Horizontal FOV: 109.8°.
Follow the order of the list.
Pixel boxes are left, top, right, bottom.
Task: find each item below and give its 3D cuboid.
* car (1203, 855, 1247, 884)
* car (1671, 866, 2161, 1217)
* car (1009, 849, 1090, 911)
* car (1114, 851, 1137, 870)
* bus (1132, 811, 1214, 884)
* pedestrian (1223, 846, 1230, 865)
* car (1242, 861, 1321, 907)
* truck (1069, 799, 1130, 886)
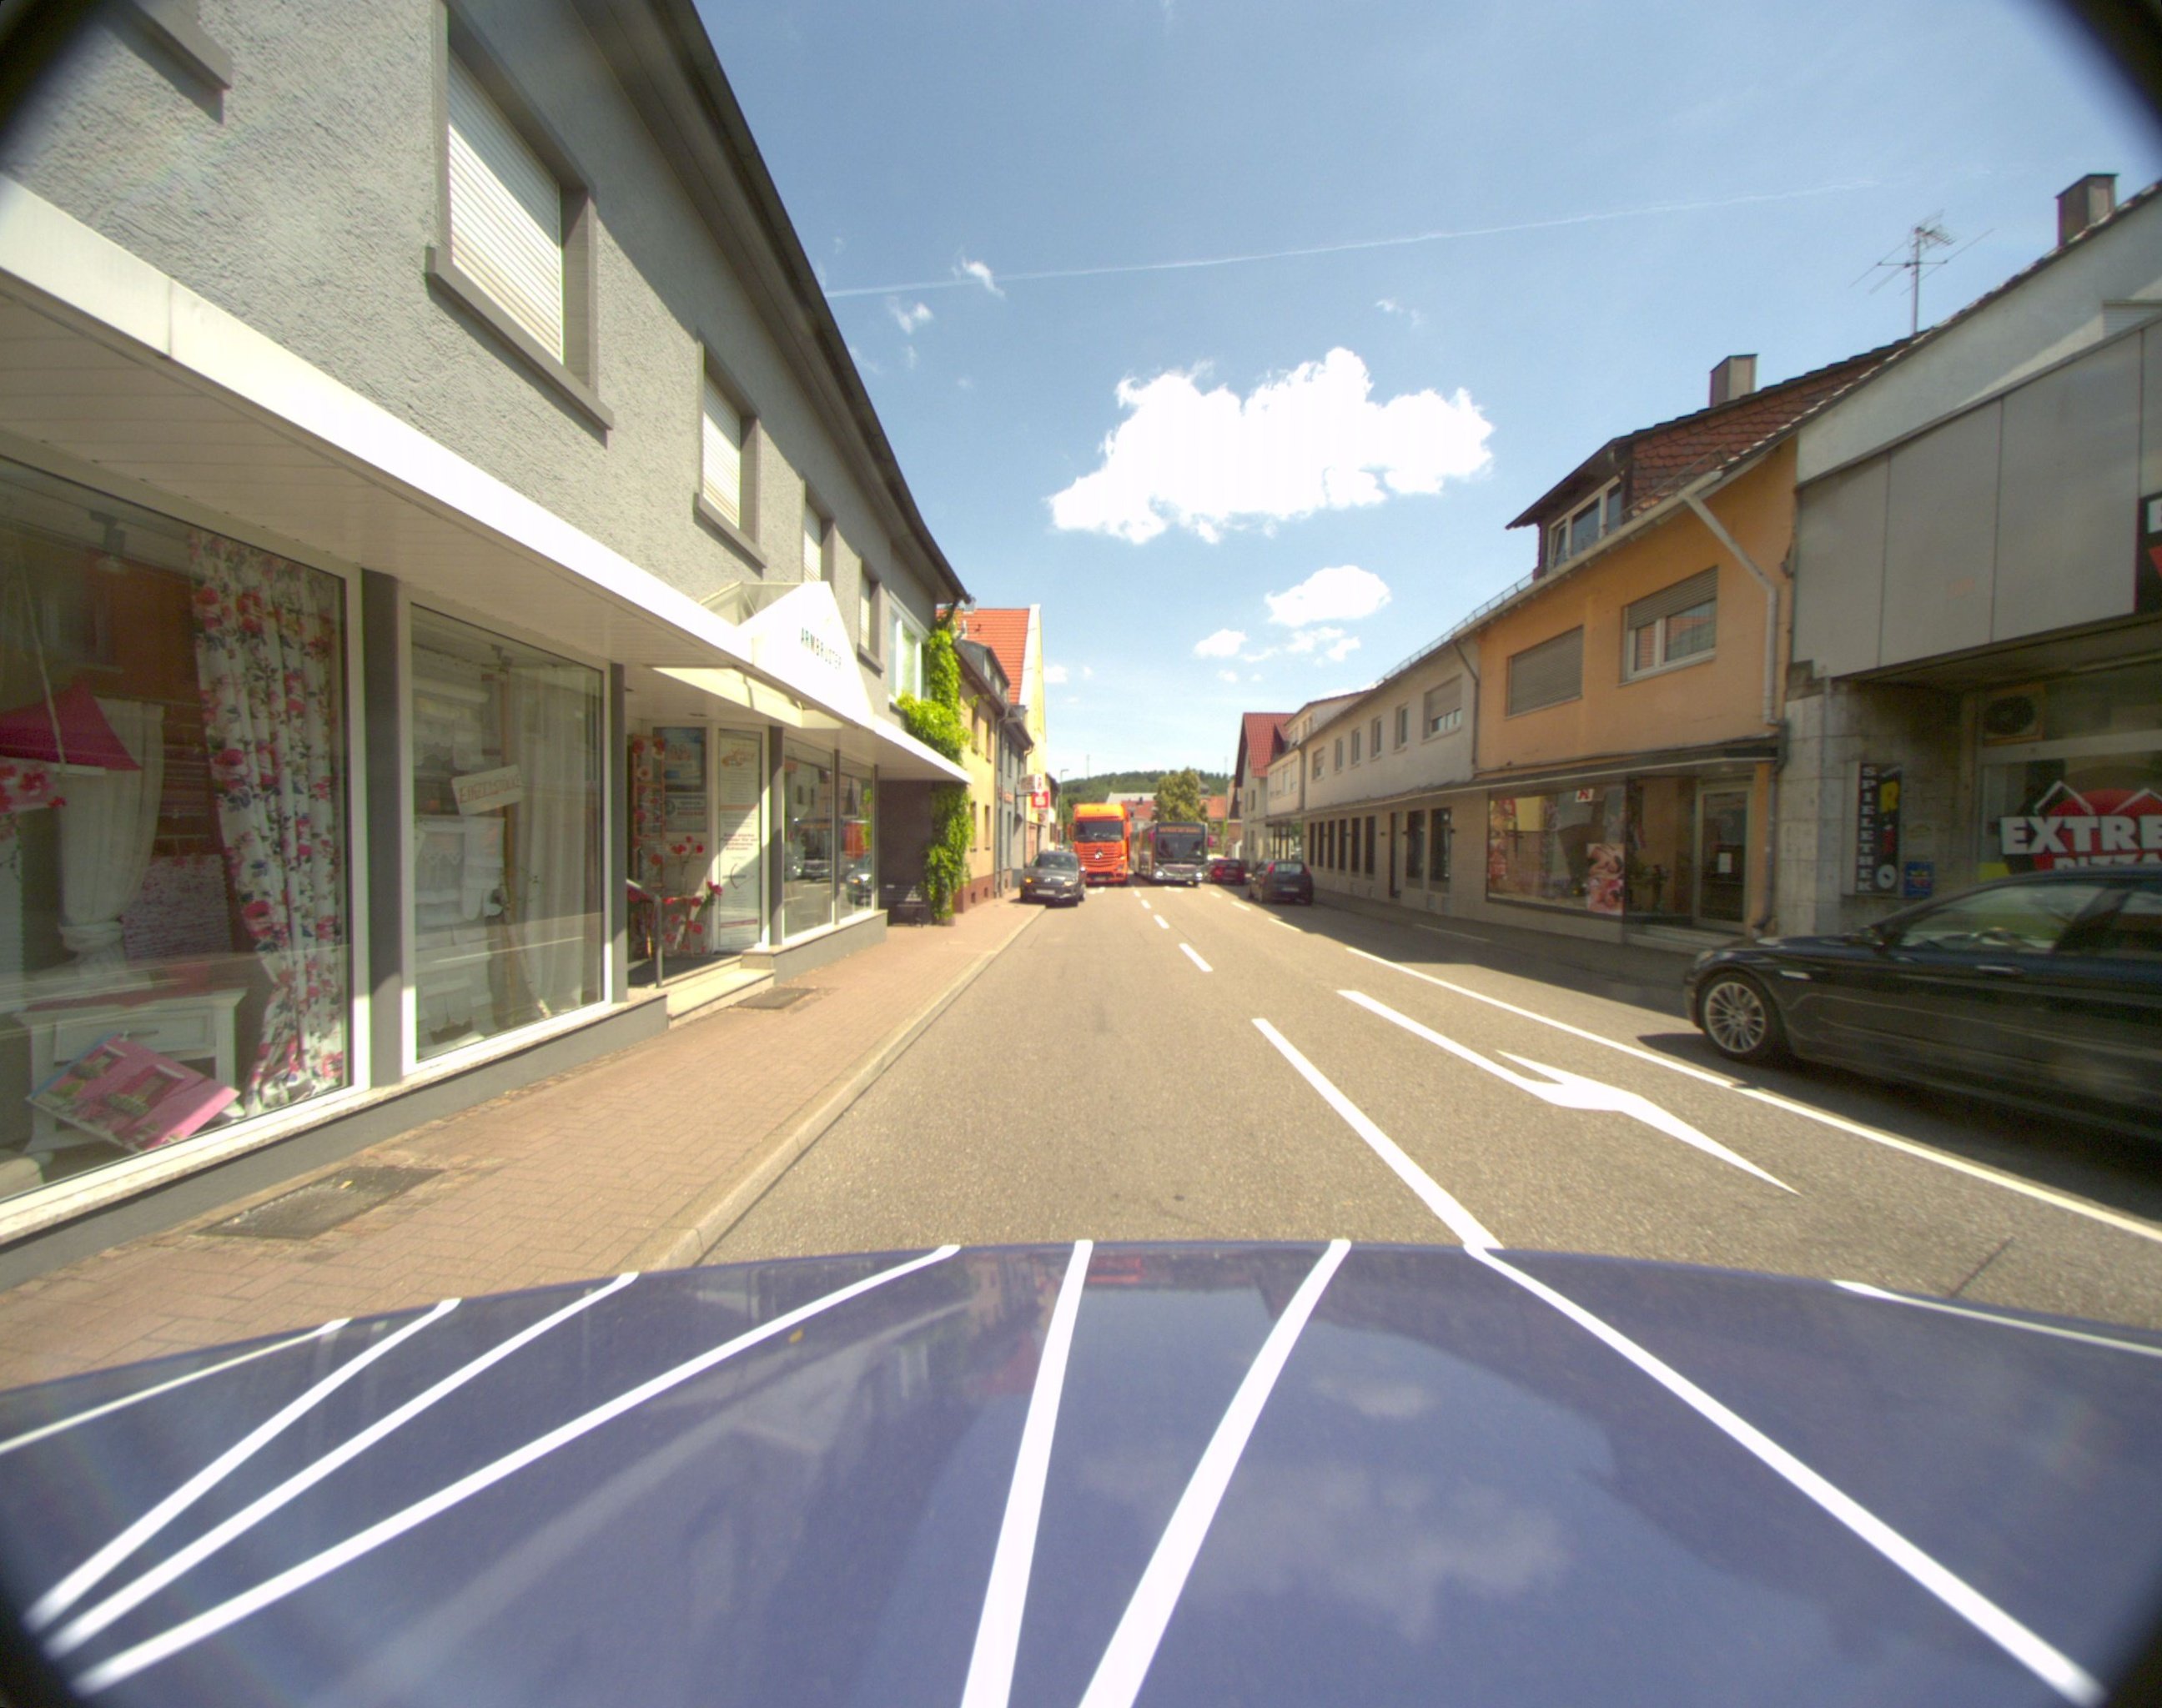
[{"bbox_3d":[7.642,0.784,40.649,1.721,1.400,4.285,3,0,3],"label":"car"},{"bbox_3d":[5.750,0.915,3.811,1.801,1.478,4.796,3,1,0],"label":"car"},{"bbox_3d":[-0.902,0.741,24.295,1.998,1.699,4.102,3,1,5],"label":"car"},{"bbox_3d":[3.594,0.543,61.145,1.721,1.400,4.285,3,0,3],"label":"car"},{"bbox_3d":[4.709,-0.303,43.105,2.858,3.186,19.034,1,0,2],"label":"bus"},{"bbox_3d":[13.541,0.127,70.600,0.471,1.754,0.478,0,2,-19],"label":"pedestrian"},{"bbox_3d":[6.699,0.961,25.787,1.721,1.414,3.821,2,0,2],"label":"car"},{"bbox_3d":[1.166,-0.511,39.739,2.614,3.922,9.995,-2,0,4],"label":"truck"}]
